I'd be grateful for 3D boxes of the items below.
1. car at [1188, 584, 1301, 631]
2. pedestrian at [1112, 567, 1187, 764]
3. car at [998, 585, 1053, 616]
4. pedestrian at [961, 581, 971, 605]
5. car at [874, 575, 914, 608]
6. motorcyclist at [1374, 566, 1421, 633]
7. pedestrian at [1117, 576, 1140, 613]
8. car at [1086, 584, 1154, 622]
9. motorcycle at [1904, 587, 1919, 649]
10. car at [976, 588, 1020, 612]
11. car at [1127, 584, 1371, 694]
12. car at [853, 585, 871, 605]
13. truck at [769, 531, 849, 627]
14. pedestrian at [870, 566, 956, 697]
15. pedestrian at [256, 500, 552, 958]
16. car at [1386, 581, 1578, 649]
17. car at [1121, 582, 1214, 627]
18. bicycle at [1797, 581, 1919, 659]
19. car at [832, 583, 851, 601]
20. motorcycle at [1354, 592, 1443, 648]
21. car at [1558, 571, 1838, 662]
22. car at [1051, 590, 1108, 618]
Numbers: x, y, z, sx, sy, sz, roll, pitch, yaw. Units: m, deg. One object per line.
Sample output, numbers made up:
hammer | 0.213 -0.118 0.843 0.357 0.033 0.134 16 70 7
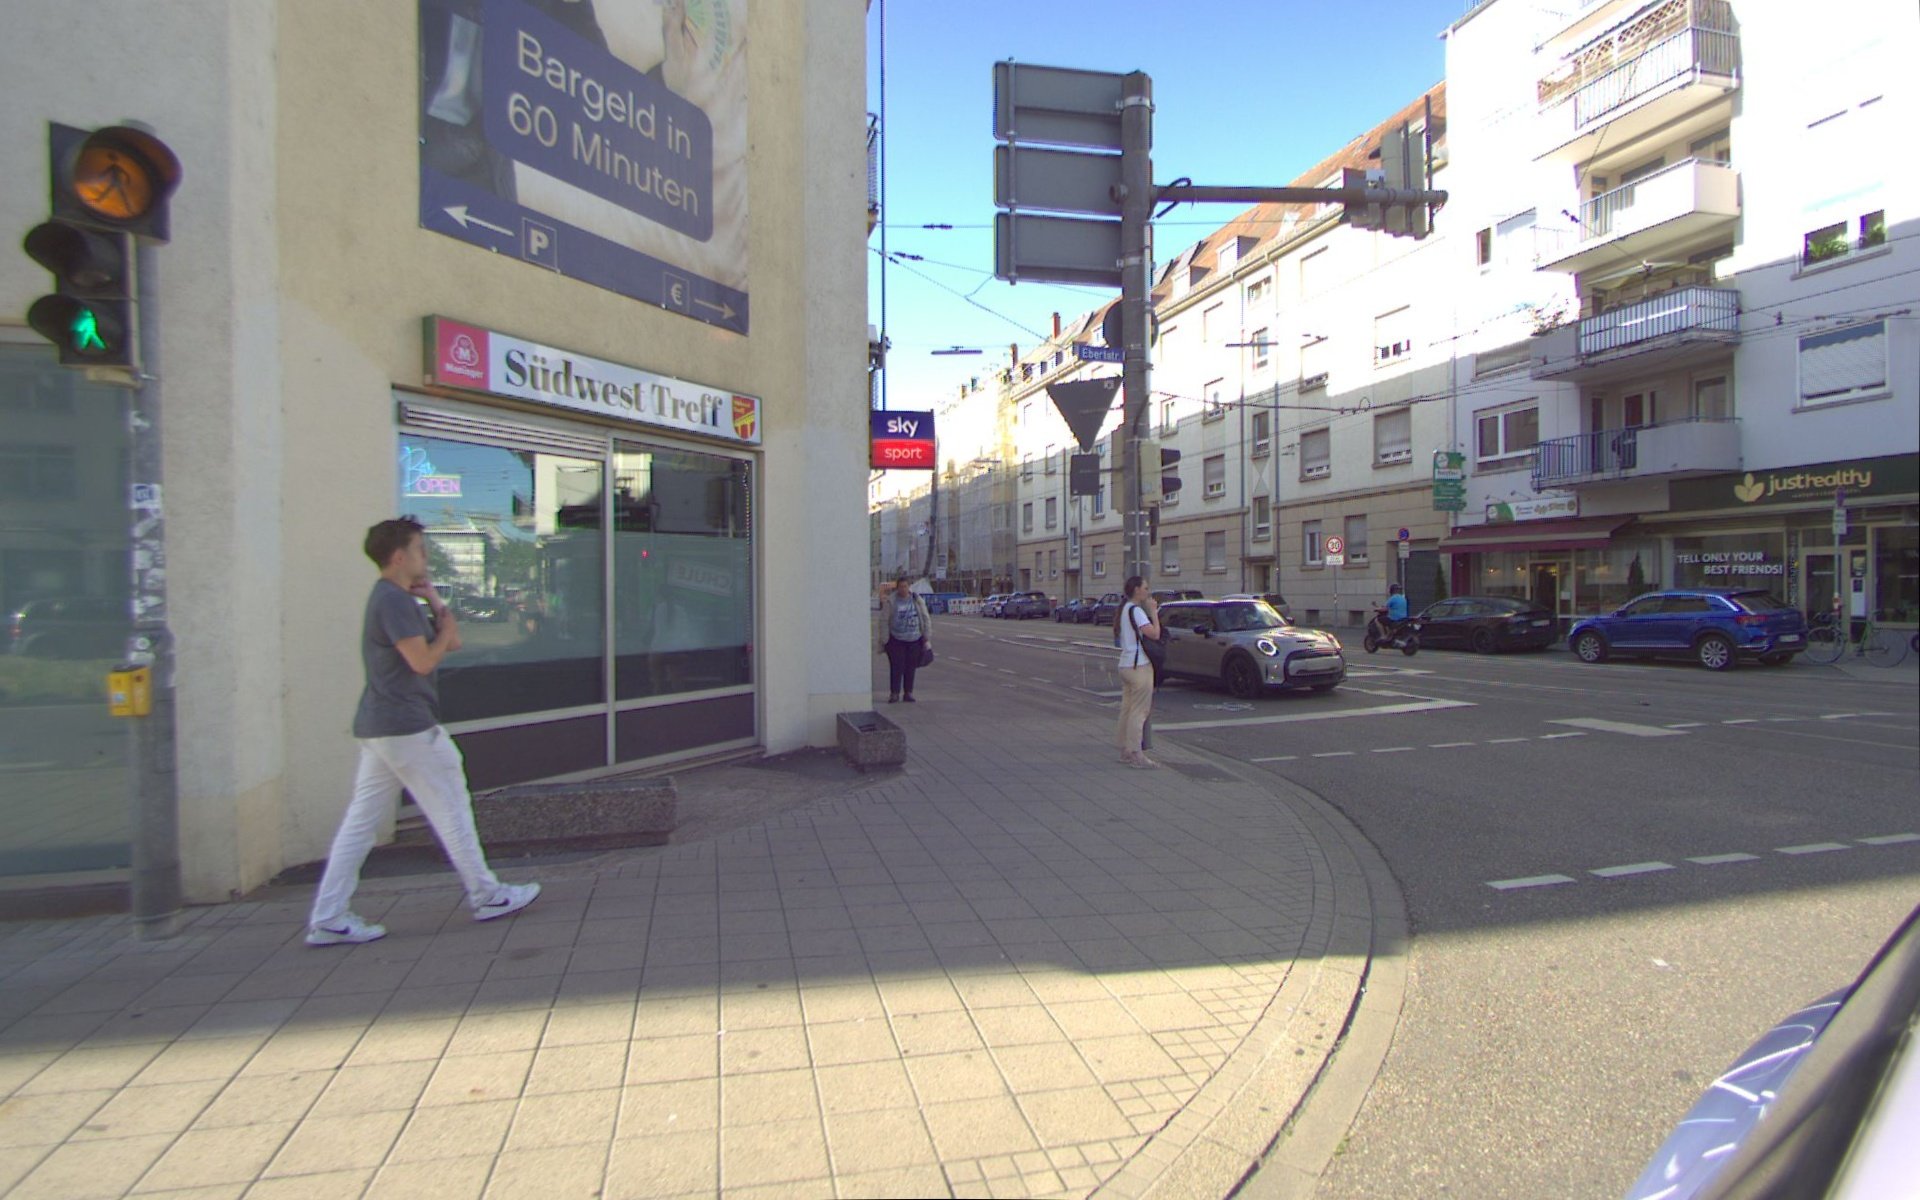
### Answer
car | 10.079 0.234 36.160 1.695 1.472 4.380 -4 2 -17
pedestrian | 1.665 0.548 8.987 0.532 1.643 0.731 3 1 9
car | 3.742 0.011 58.327 1.716 1.629 4.168 -4 2 -17
pedestrian | 0.472 -0.578 80.420 0.508 1.895 0.764 -3 1 -16
car | -5.873 -0.798 89.287 2.170 2.730 5.886 -3 1 -16
motorcyclist | 10.217 -0.010 23.648 0.681 1.515 0.686 -1 -1 -21
pedestrian | 8.360 -0.265 50.235 0.650 1.789 1.008 -3 1 -23
car | 7.220 0.101 46.028 1.610 1.577 3.603 -4 2 -16
motorcycle | 18.863 0.349 18.852 0.596 1.148 1.801 -3 1 -16
car | 2.326 -0.027 62.985 1.533 1.397 3.515 -4 2 -17
car | 4.417 0.552 16.077 1.693 1.443 3.824 -3 0 -22
car | -10.328 -0.541 106.393 1.626 1.946 3.771 -3 1 -9
truck | -7.898 -1.088 51.426 2.645 4.290 11.803 -1 1 -15
pedestrian | -0.615 0.398 13.021 0.868 1.613 0.812 1 -1 -21
pedestrian | -2.338 0.480 4.396 1.020 1.764 0.689 -1 1 -22
car | 13.131 0.305 25.809 1.738 1.493 4.455 -3 2 -16
car | 8.427 0.145 41.548 1.783 1.653 4.334 -4 2 -17
bicycle | 16.416 0.334 18.399 0.596 1.330 1.801 -3 1 -16
car | -13.909 -0.946 118.539 1.538 1.980 4.193 -3 1 -15
motorcycle | 10.224 0.451 23.667 0.699 1.235 1.969 -1 0 -21
car | 14.544 0.309 20.267 1.738 1.522 4.246 -4 1 -18
car | 5.907 0.191 50.469 1.446 1.234 3.531 -4 2 -17
